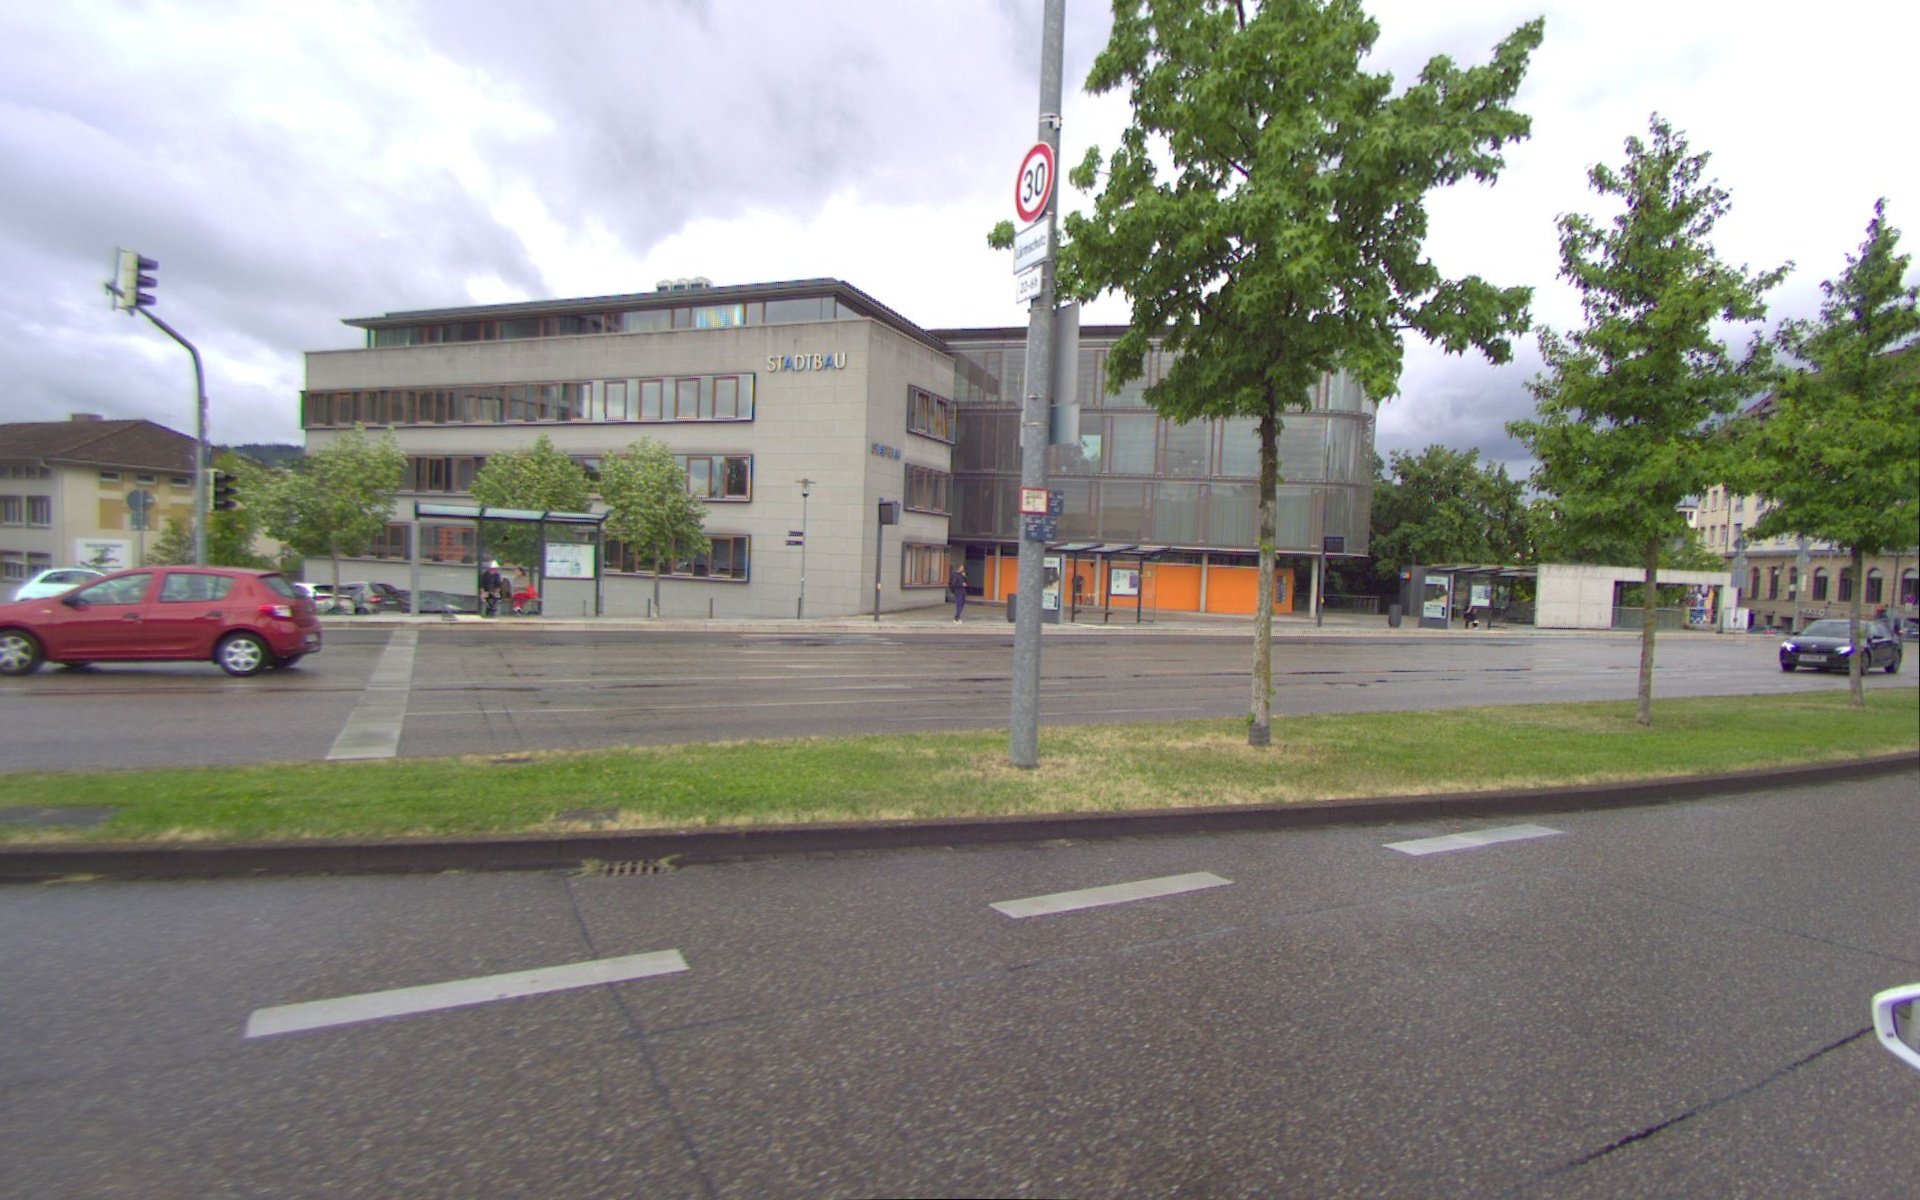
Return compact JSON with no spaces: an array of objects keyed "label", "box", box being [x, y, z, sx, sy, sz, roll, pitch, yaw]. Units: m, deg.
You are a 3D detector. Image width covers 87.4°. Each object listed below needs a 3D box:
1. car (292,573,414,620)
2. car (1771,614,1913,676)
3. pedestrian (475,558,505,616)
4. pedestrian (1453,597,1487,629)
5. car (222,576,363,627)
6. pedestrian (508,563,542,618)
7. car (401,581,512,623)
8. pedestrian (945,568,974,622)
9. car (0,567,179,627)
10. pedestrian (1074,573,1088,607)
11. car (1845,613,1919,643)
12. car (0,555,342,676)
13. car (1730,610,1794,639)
[{"label":"car","box":[-21.876,-0.139,36.247,3.509,1.515,1.634,2,1,10]},{"label":"car","box":[24.481,1.217,27.841,4.587,1.548,1.671,1,1,-32]},{"label":"pedestrian","box":[-12.174,-0.340,26.004,0.619,1.488,0.675,1,1,-31]},{"label":"pedestrian","box":[22.458,0.572,44.244,0.834,1.285,0.977,2,5,-8]},{"label":"car","box":[-22.288,0.034,33.608,3.711,1.515,1.767,2,1,10]},{"label":"pedestrian","box":[-11.417,-0.252,26.372,0.713,1.411,0.675,1,1,-31]},{"label":"car","box":[-19.616,0.079,39.243,3.518,1.515,1.629,2,1,-11]},{"label":"pedestrian","box":[-0.026,-0.154,31.845,0.752,1.706,0.473,1,1,-22]},{"label":"car","box":[-24.424,-0.083,28.209,3.521,1.515,1.628,2,1,-14]},{"label":"pedestrian","box":[6.188,-0.506,51.535,0.630,1.706,0.475,1,1,2]},{"label":"car","box":[60.885,1.826,66.363,2.077,1.799,4.392,2,0,19]},{"label":"car","box":[-11.396,0.217,14.407,3.970,1.573,1.820,2,1,-19]},{"label":"car","box":[58.604,1.748,73.464,1.834,1.706,4.002,6,3,10]}]
